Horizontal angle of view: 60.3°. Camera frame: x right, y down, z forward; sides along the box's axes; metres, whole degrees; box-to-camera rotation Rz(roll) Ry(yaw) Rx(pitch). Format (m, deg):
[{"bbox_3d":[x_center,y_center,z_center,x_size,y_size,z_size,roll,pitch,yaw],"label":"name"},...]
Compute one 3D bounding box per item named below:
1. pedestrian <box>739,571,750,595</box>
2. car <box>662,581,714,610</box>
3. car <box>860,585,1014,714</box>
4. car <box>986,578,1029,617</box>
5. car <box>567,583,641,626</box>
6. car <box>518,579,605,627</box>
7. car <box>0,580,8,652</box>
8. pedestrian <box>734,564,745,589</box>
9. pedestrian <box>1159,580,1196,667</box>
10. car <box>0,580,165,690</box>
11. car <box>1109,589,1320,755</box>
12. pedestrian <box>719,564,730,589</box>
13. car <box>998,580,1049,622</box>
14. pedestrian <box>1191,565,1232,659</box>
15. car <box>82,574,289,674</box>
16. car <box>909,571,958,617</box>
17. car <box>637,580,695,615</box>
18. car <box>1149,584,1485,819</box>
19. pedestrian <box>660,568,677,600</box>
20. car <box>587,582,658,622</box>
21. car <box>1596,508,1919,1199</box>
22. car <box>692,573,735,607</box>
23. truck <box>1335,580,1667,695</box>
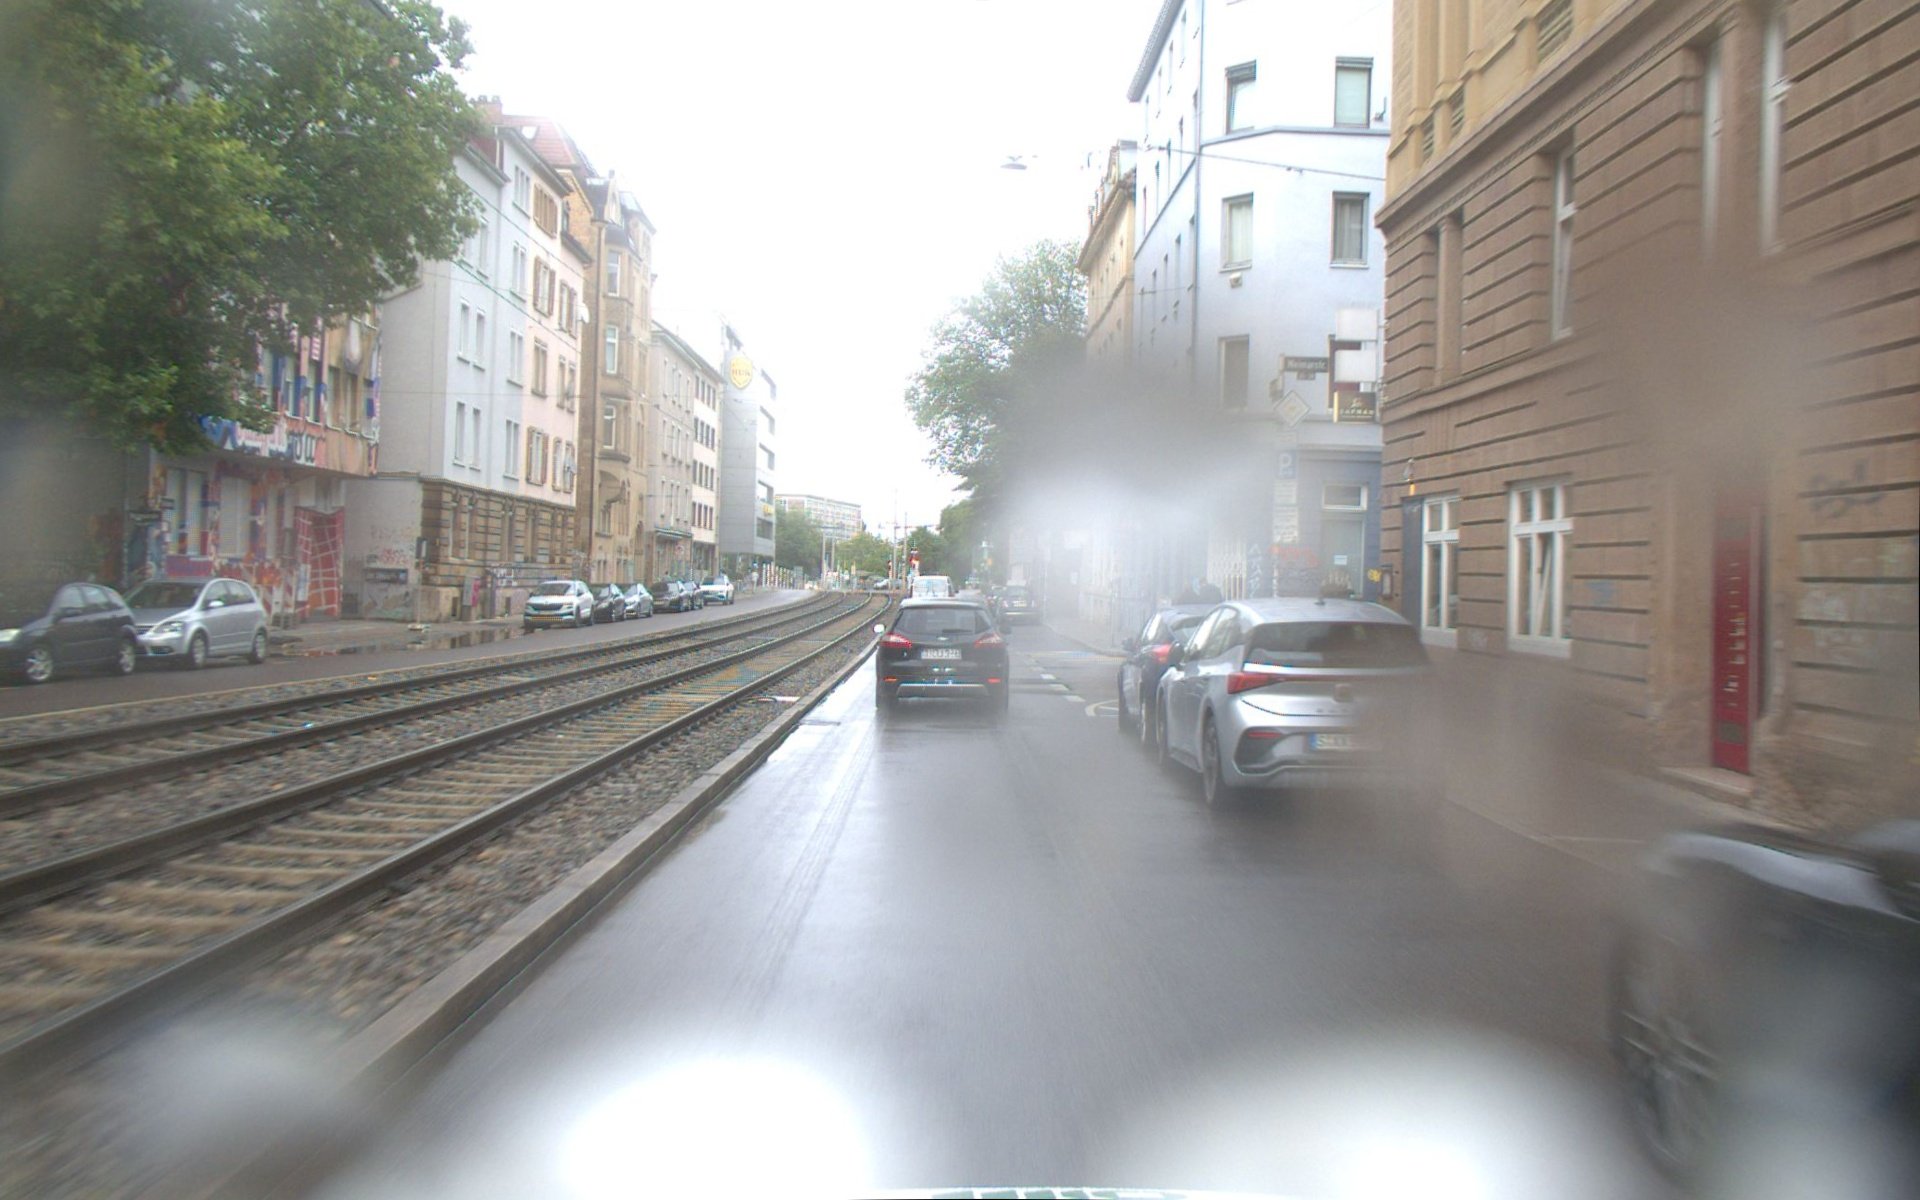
[{"bbox_3d":[-17.237,-1.390,132.325,0.729,1.886,0.839,1,-1,-2],"label":"pedestrian"},{"bbox_3d":[-14.038,-0.248,85.563,1.953,1.400,4.238,1,0,-1],"label":"car"},{"bbox_3d":[-0.303,0.642,23.235,1.953,1.622,4.271,1,0,0],"label":"car"},{"bbox_3d":[1.989,-0.117,70.049,1.609,1.542,4.038,1,1,-2],"label":"car"},{"bbox_3d":[-13.683,0.144,63.719,1.953,1.545,4.208,2,0,-1],"label":"car"},{"bbox_3d":[-13.777,0.096,57.419,1.953,1.545,4.434,2,0,-1],"label":"car"},{"bbox_3d":[-20.728,0.350,32.379,1.953,1.480,3.999,0,1,-2],"label":"car"},{"bbox_3d":[-16.798,-1.816,126.136,0.729,1.886,0.839,1,-1,-2],"label":"pedestrian"},{"bbox_3d":[4.785,0.508,36.421,0.648,1.884,0.821,1,1,-2],"label":"pedestrian"},{"bbox_3d":[-13.585,0.455,24.405,1.708,1.494,4.219,0,0,-1],"label":"car"},{"bbox_3d":[2.694,0.696,18.413,1.685,1.542,4.259,1,1,0],"label":"car"},{"bbox_3d":[-17.918,-1.807,126.025,0.729,1.886,0.839,1,-1,-2],"label":"pedestrian"},{"bbox_3d":[2.485,0.018,65.431,1.703,1.515,3.999,1,1,-2],"label":"car"},{"bbox_3d":[5.542,0.253,36.530,0.721,2.048,0.821,1,1,-2],"label":"pedestrian"},{"bbox_3d":[-13.570,0.381,29.249,1.687,1.597,4.219,2,0,-1],"label":"car"},{"bbox_3d":[-1.081,-0.236,69.537,1.953,1.848,4.271,1,0,0],"label":"car"},{"bbox_3d":[-13.949,-0.138,78.776,1.953,1.545,4.675,2,0,-1],"label":"car"},{"bbox_3d":[2.713,0.681,13.580,1.711,1.549,4.354,1,1,-1],"label":"car"},{"bbox_3d":[-16.680,-0.908,94.570,0.785,1.781,0.984,1,0,-2],"label":"pedestrian"},{"bbox_3d":[-13.900,0.070,68.355,1.953,1.545,4.991,2,0,-1],"label":"car"},{"bbox_3d":[2.895,0.633,2.688,1.953,1.622,4.571,1,0,0],"label":"car"},{"bbox_3d":[-14.357,-0.567,96.587,1.954,1.871,5.068,2,0,-3],"label":"car"},{"bbox_3d":[9.116,0.612,28.122,4.958,1.850,2.082,0,1,-4],"label":"truck"}]
